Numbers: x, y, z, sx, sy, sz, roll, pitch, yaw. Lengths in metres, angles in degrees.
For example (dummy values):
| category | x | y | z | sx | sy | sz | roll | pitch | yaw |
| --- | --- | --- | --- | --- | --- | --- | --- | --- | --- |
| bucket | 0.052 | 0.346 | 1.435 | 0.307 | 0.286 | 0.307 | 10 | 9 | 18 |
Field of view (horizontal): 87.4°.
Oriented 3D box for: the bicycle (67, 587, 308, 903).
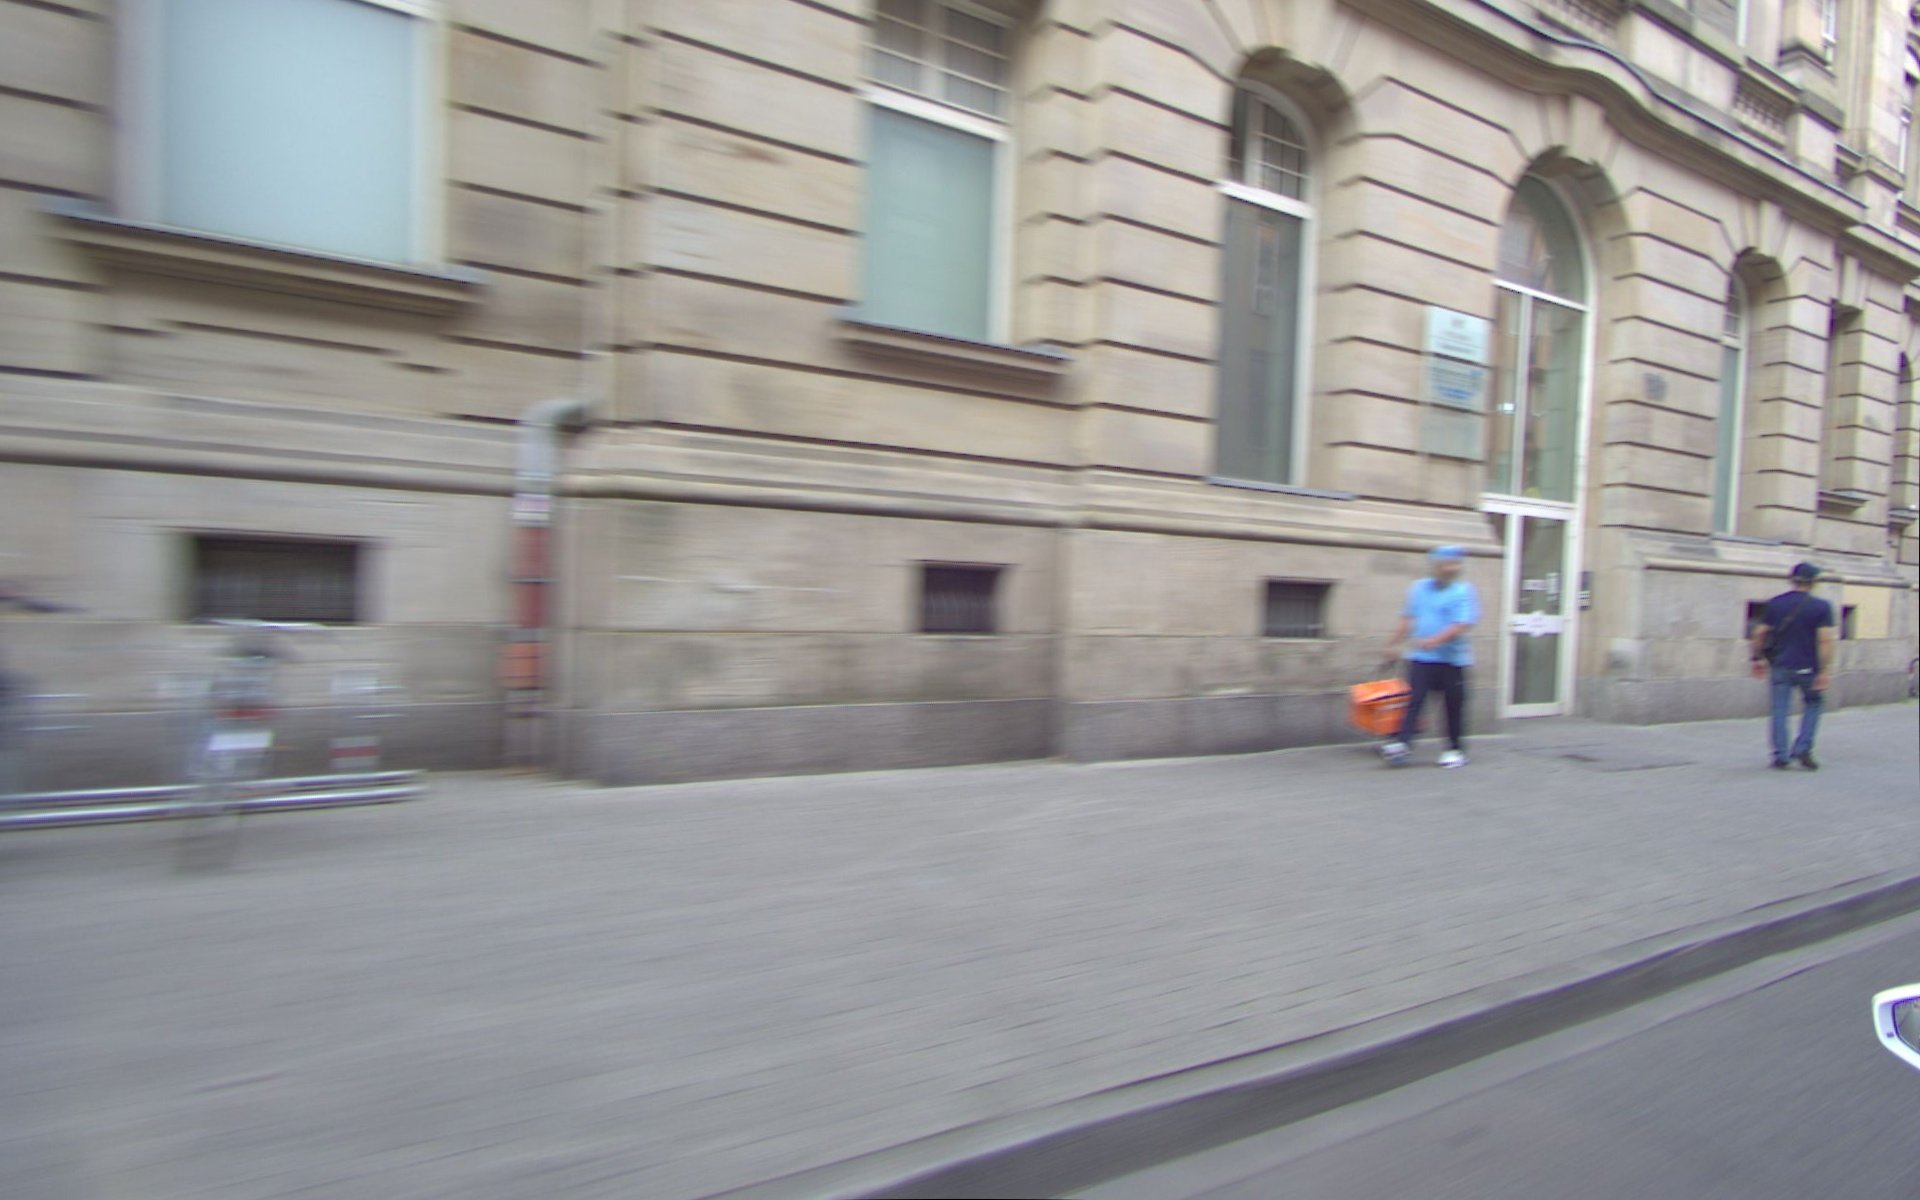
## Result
| category | x | y | z | sx | sy | sz | roll | pitch | yaw |
| --- | --- | --- | --- | --- | --- | --- | --- | --- | --- |
| bicycle | -3.416 | 0.516 | 4.594 | 0.714 | 1.060 | 1.923 | 1 | 3 | -33 |

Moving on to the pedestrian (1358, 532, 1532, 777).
| category | x | y | z | sx | sy | sz | roll | pitch | yaw |
| --- | --- | --- | --- | --- | --- | --- | --- | --- | --- |
| pedestrian | 3.762 | 0.383 | 7.823 | 0.759 | 1.769 | 0.825 | 1 | 4 | -29 |

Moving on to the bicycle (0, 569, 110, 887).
| category | x | y | z | sx | sy | sz | roll | pitch | yaw |
| --- | --- | --- | --- | --- | --- | --- | --- | --- | --- |
| bicycle | -4.163 | 0.463 | 4.069 | 0.739 | 1.093 | 1.927 | 2 | 3 | -30 |

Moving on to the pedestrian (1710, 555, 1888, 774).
| category | x | y | z | sx | sy | sz | roll | pitch | yaw |
| --- | --- | --- | --- | --- | --- | --- | --- | --- | --- |
| pedestrian | 7.310 | 0.528 | 8.764 | 0.958 | 1.774 | 0.805 | 2 | 3 | -30 |
